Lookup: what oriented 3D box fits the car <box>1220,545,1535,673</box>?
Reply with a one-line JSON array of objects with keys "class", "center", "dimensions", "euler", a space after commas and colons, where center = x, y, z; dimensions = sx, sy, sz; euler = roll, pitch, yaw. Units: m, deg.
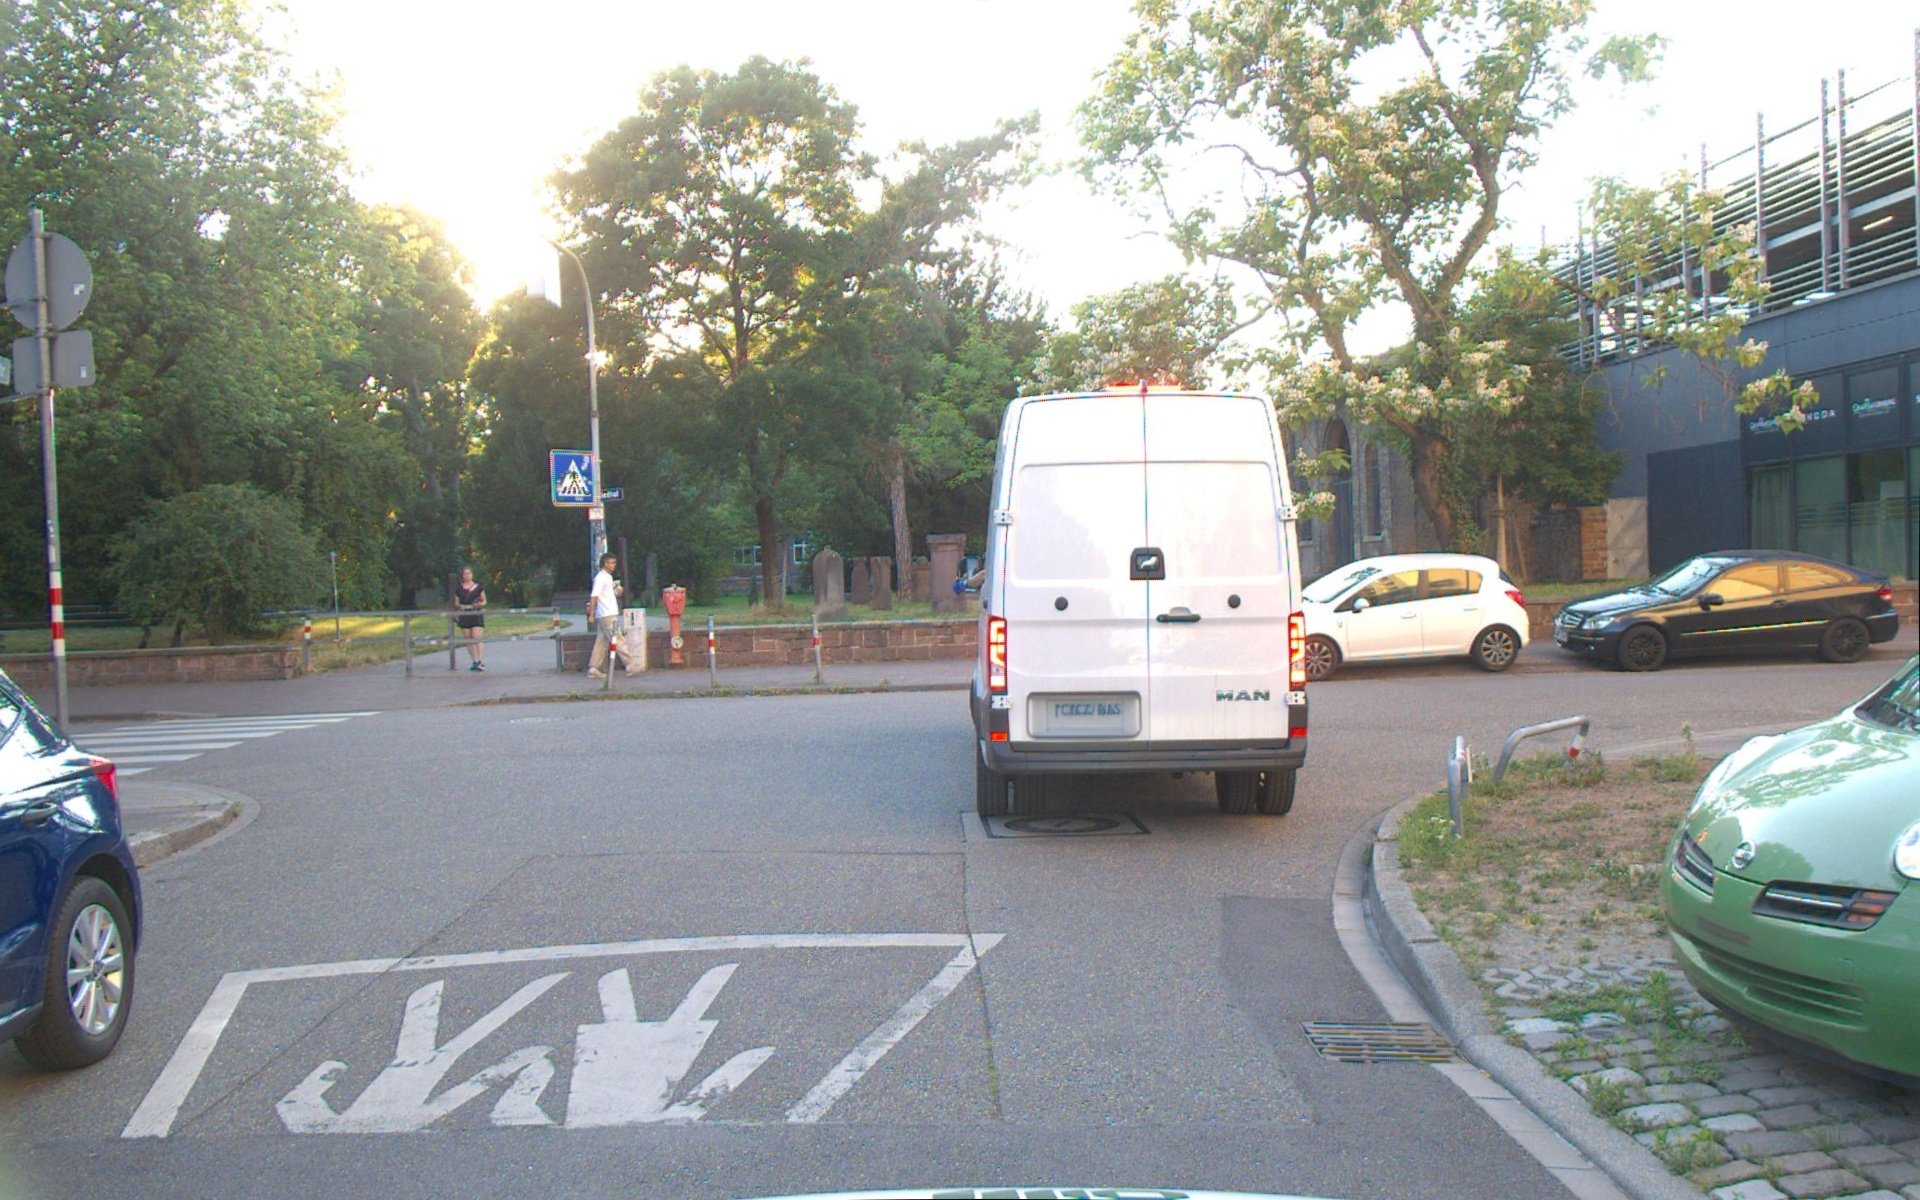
[{"class": "car", "center": [5.659, 0.094, 22.754], "dimensions": [3.779, 1.601, 1.957], "euler": [-1, 1, -4]}]

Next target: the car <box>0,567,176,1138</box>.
[{"class": "car", "center": [-3.507, 0.762, 3.900], "dimensions": [1.700, 1.594, 3.787], "euler": [-3, 1, -5]}]

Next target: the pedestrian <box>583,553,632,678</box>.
[{"class": "pedestrian", "center": [-5.289, 0.225, 24.851], "dimensions": [0.581, 1.840, 0.620], "euler": [0, 1, -1]}]

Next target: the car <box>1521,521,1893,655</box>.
[{"class": "car", "center": [10.062, -0.166, 22.526], "dimensions": [4.204, 1.529, 1.824], "euler": [-3, 1, 2]}]

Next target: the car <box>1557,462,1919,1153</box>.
[{"class": "car", "center": [4.354, 0.400, 5.064], "dimensions": [4.317, 1.660, 1.844], "euler": [-3, -1, -5]}]

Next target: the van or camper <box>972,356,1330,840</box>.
[{"class": "van or camper", "center": [1.161, -0.034, 12.427], "dimensions": [1.952, 2.664, 6.404], "euler": [-1, 0, 2]}]

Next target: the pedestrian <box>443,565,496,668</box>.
[{"class": "pedestrian", "center": [-8.047, 0.256, 27.170], "dimensions": [0.633, 1.677, 0.674], "euler": [0, 1, 4]}]
